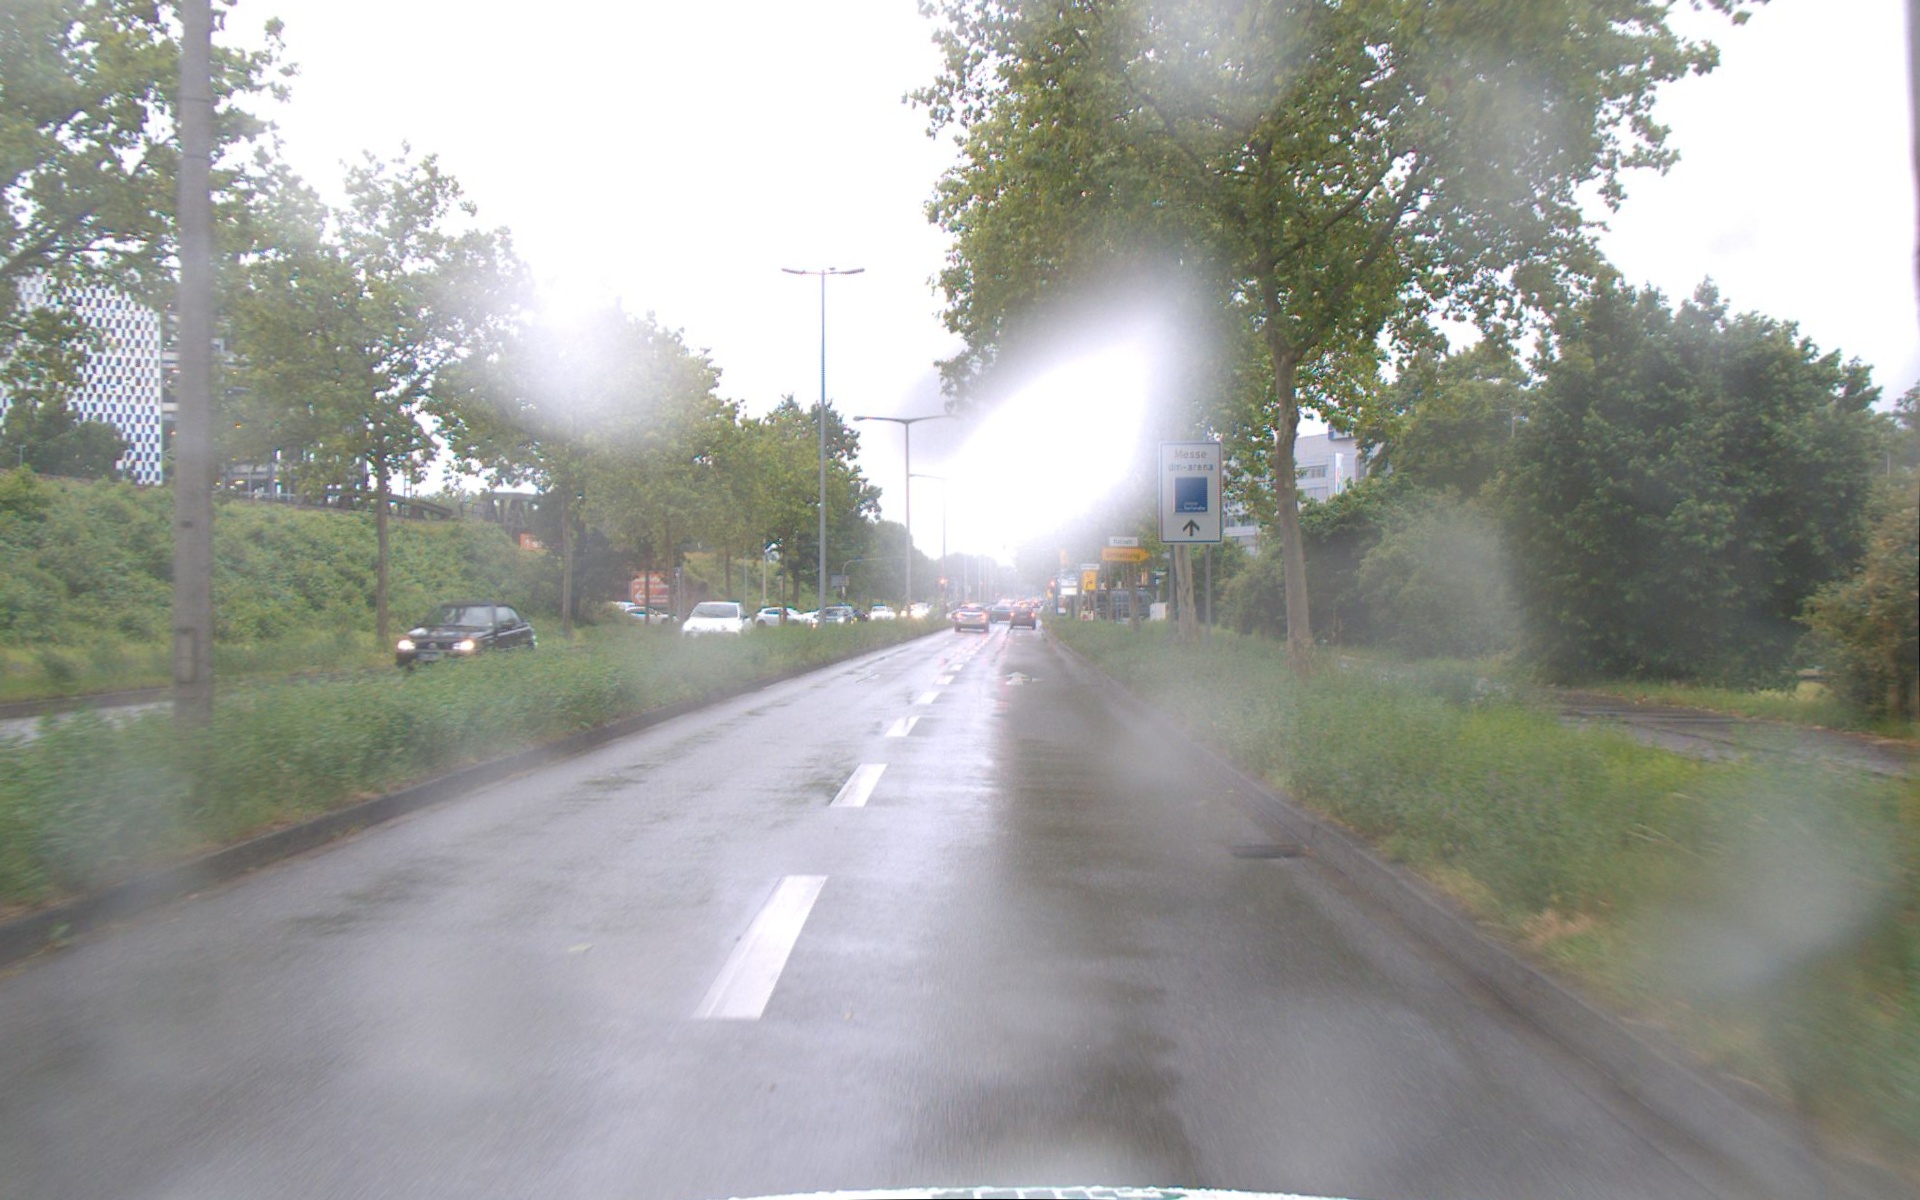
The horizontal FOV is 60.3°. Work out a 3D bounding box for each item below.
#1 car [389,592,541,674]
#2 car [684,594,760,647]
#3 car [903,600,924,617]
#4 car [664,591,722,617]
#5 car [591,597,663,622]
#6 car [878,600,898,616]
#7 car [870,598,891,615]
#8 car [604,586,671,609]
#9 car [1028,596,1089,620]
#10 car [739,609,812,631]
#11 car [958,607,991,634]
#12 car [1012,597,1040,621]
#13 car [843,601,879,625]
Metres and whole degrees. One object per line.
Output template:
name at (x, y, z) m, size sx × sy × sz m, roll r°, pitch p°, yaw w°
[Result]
car at (-9.346, 0.576, 31.539) m, size 1.597 × 1.451 × 4.001 m, roll 1°, pitch 0°, yaw 1°
car at (-7.327, 0.603, 51.303) m, size 1.667 × 1.521 × 4.205 m, roll 1°, pitch 0°, yaw 1°
car at (-4.432, 0.797, 157.671) m, size 1.677 × 1.557 × 4.001 m, roll -1°, pitch 0°, yaw 2°
car at (-20.305, 0.324, 125.721) m, size 3.941 × 1.878 × 1.982 m, roll 2°, pitch -1°, yaw -28°
car at (-22.379, 0.653, 111.173) m, size 4.445 × 1.617 × 1.849 m, roll -1°, pitch 0°, yaw -24°
car at (-7.078, 0.740, 163.153) m, size 1.677 × 1.557 × 4.001 m, roll -1°, pitch 0°, yaw 2°
car at (-7.527, 0.644, 156.627) m, size 1.677 × 1.557 × 4.001 m, roll -1°, pitch 0°, yaw 2°
car at (-22.638, -0.195, 116.057) m, size 4.320 × 1.564 × 1.786 m, roll 0°, pitch 0°, yaw -27°
car at (7.173, 0.554, 119.914) m, size 4.342 × 1.563 × 1.778 m, roll -3°, pitch 2°, yaw -38°
car at (-12.498, 1.332, 111.787) m, size 4.548 × 1.470 × 1.936 m, roll 0°, pitch 0°, yaw 23°
car at (0.805, 1.120, 90.711) m, size 1.655 × 1.458 × 4.575 m, roll 0°, pitch 0°, yaw 2°
car at (4.382, 0.587, 109.273) m, size 1.759 × 1.564 × 4.388 m, roll 1°, pitch 0°, yaw 2°
car at (-6.066, 0.788, 101.540) m, size 1.891 × 1.470 × 3.708 m, roll 0°, pitch 0°, yaw 2°
